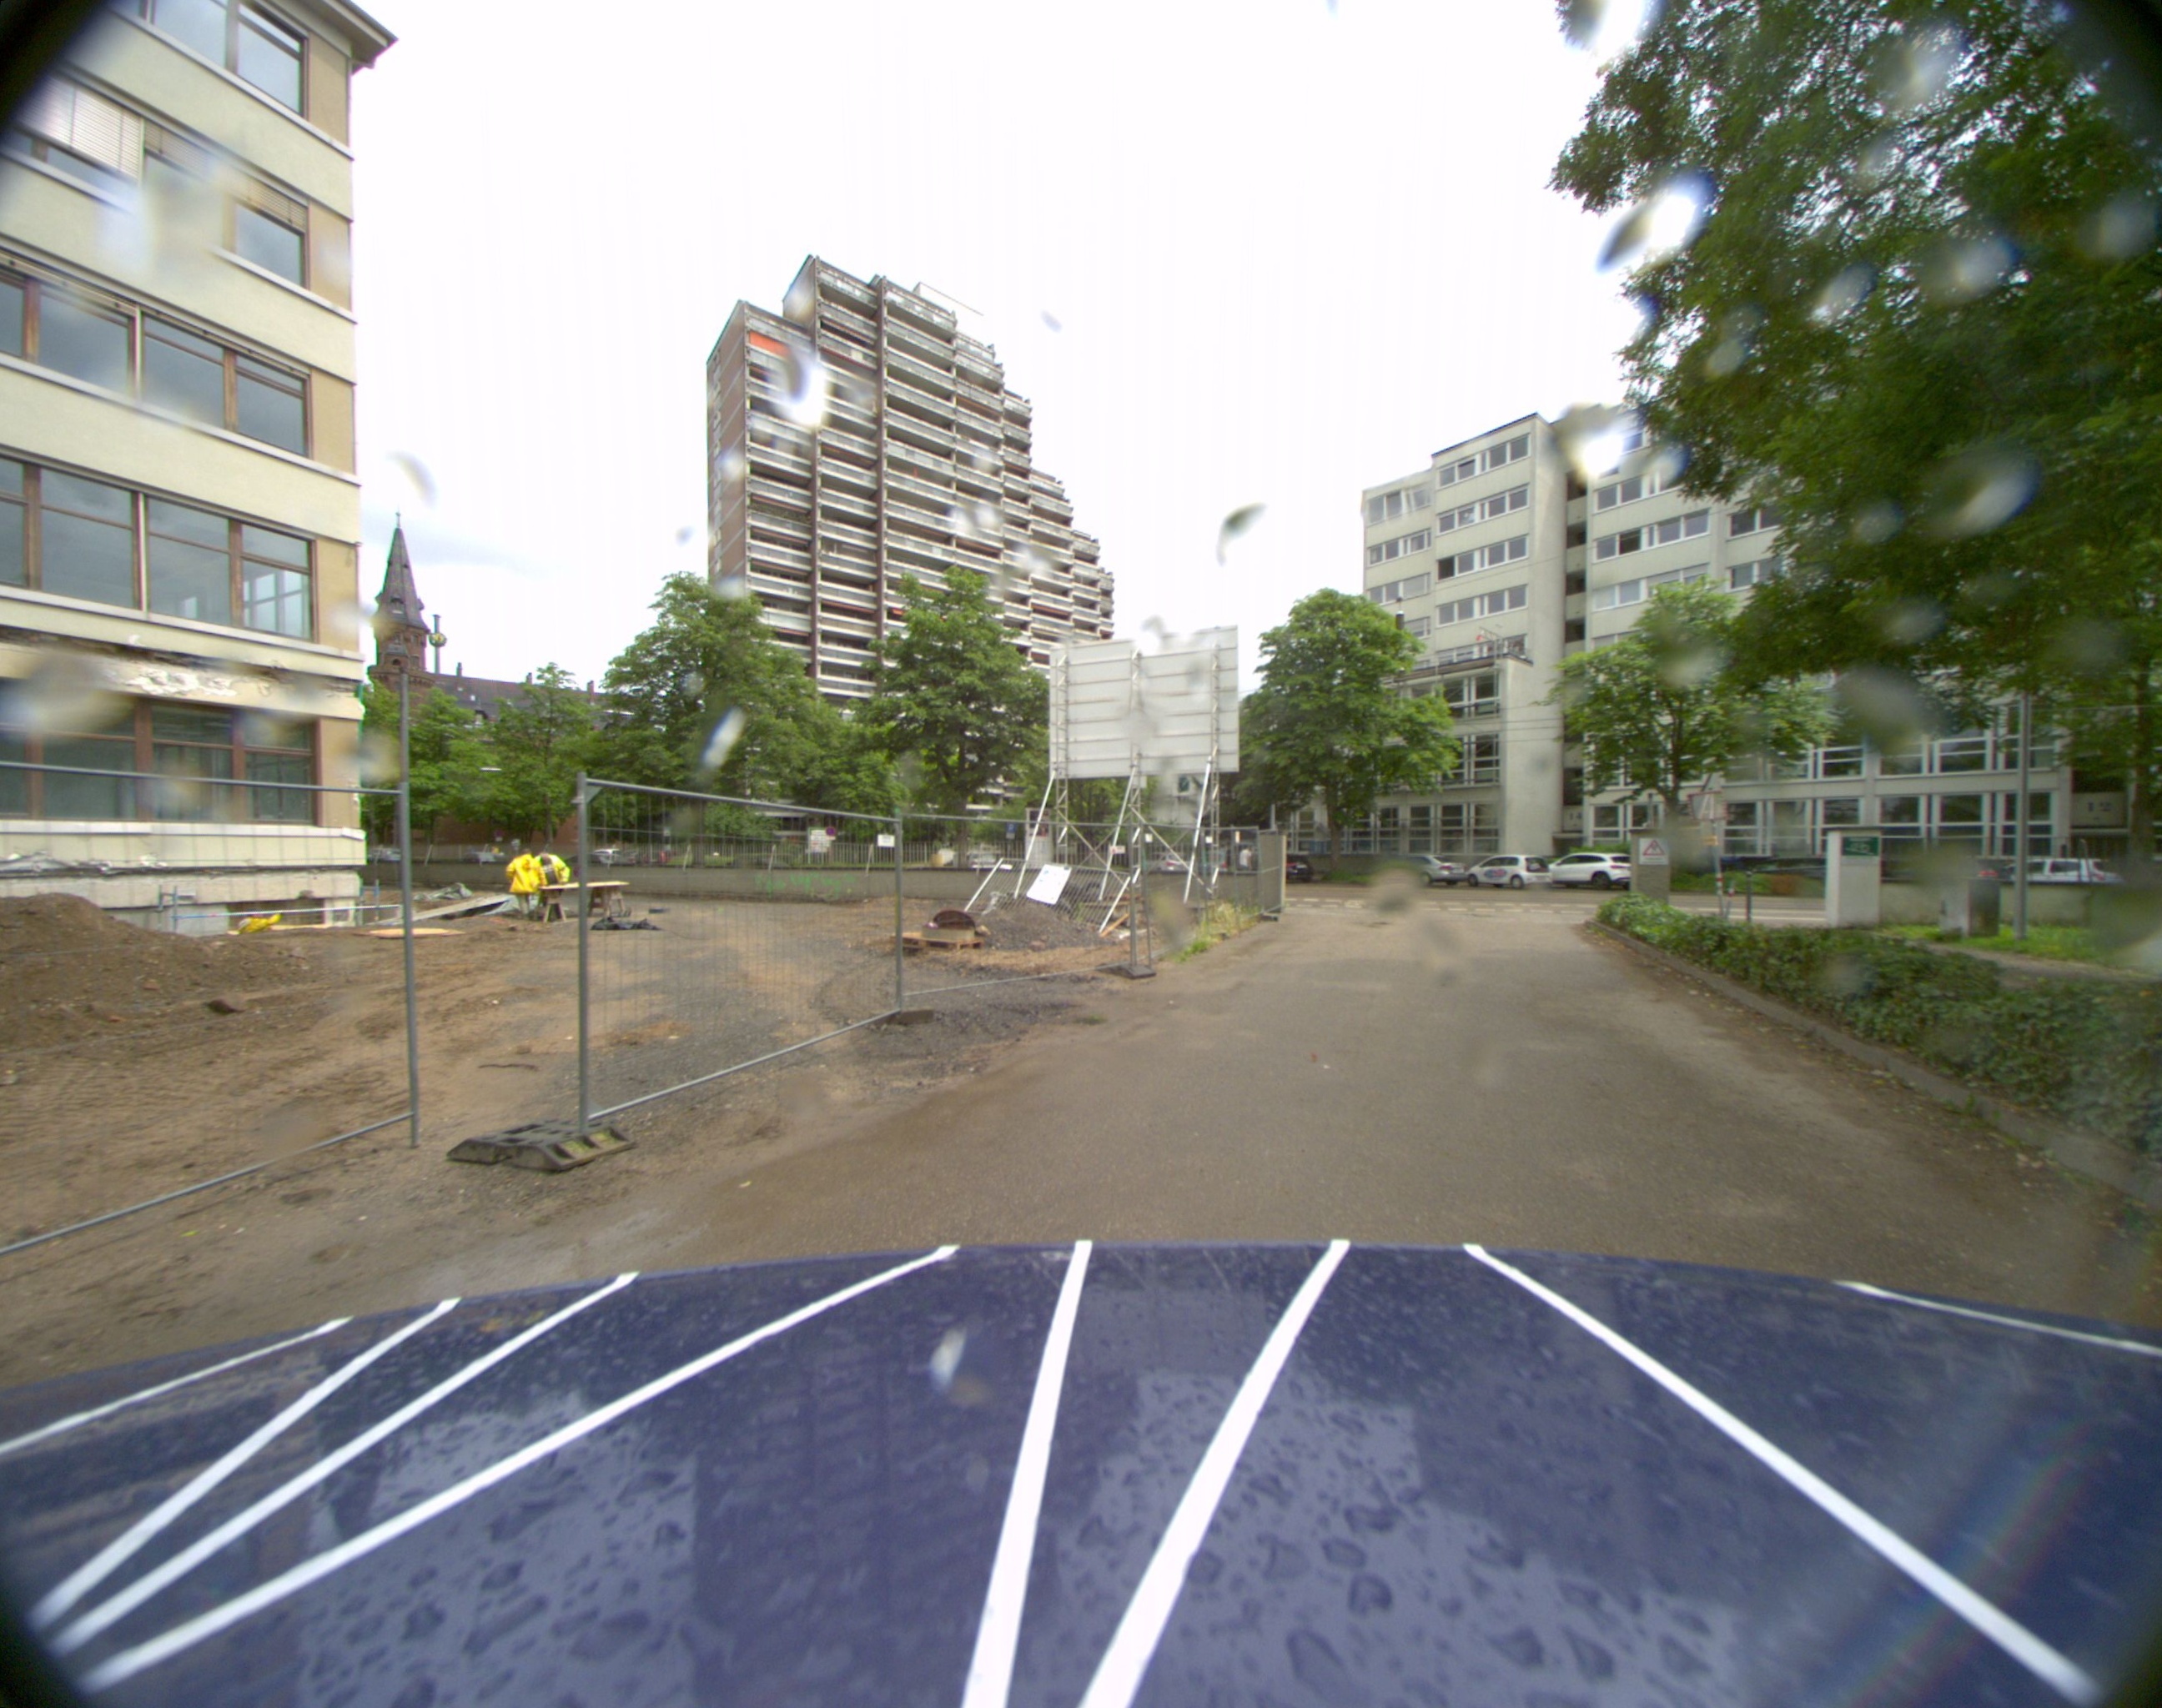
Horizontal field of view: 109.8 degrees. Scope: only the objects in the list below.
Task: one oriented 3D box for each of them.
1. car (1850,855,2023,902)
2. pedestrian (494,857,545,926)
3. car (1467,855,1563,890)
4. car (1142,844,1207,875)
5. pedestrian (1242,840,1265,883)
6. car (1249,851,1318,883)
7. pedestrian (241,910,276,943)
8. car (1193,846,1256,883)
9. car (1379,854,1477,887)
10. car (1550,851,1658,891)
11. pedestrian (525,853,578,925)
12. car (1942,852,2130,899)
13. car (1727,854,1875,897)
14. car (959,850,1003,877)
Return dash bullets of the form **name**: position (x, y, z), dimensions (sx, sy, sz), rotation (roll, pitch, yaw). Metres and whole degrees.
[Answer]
- **car**: position (31.101, 0.854, 27.774), dimensions (1.792, 1.497, 3.774), rotation (1, 1, -18)
- **pedestrian**: position (-12.497, 0.829, 16.931), dimensions (0.624, 1.500, 0.649), rotation (0, 1, 12)
- **car**: position (18.916, 0.787, 33.275), dimensions (1.656, 1.436, 3.384), rotation (1, 0, -19)
- **car**: position (4.774, 0.246, 39.407), dimensions (1.860, 1.477, 3.994), rotation (-2, 1, -17)
- **pedestrian**: position (8.206, 0.359, 36.172), dimensions (0.857, 2.002, 0.933), rotation (1, 1, 28)
- **car**: position (9.850, 0.603, 37.204), dimensions (1.623, 1.419, 3.642), rotation (0, 1, -17)
- **pedestrian**: position (-17.429, 1.538, 16.098), dimensions (0.345, 0.658, 0.393), rotation (0, 1, 22)
- **car**: position (7.206, 0.468, 38.475), dimensions (1.623, 1.737, 3.642), rotation (0, 1, -17)
- **car**: position (15.997, 0.744, 35.207), dimensions (1.725, 1.406, 3.992), rotation (1, 0, -23)
- **car**: position (22.015, 0.699, 32.099), dimensions (1.709, 1.594, 3.384), rotation (1, 0, -19)
- **pedestrian**: position (-12.488, 0.808, 17.947), dimensions (0.777, 1.664, 0.712), rotation (0, 1, -11)
- **car**: position (34.005, 0.710, 27.204), dimensions (1.792, 1.497, 3.774), rotation (1, 1, -18)
- **car**: position (28.030, 0.786, 29.738), dimensions (1.792, 1.497, 3.774), rotation (1, 1, -18)
- **car**: position (-5.939, 0.519, 44.832), dimensions (1.860, 1.477, 3.994), rotation (-2, 1, -17)
